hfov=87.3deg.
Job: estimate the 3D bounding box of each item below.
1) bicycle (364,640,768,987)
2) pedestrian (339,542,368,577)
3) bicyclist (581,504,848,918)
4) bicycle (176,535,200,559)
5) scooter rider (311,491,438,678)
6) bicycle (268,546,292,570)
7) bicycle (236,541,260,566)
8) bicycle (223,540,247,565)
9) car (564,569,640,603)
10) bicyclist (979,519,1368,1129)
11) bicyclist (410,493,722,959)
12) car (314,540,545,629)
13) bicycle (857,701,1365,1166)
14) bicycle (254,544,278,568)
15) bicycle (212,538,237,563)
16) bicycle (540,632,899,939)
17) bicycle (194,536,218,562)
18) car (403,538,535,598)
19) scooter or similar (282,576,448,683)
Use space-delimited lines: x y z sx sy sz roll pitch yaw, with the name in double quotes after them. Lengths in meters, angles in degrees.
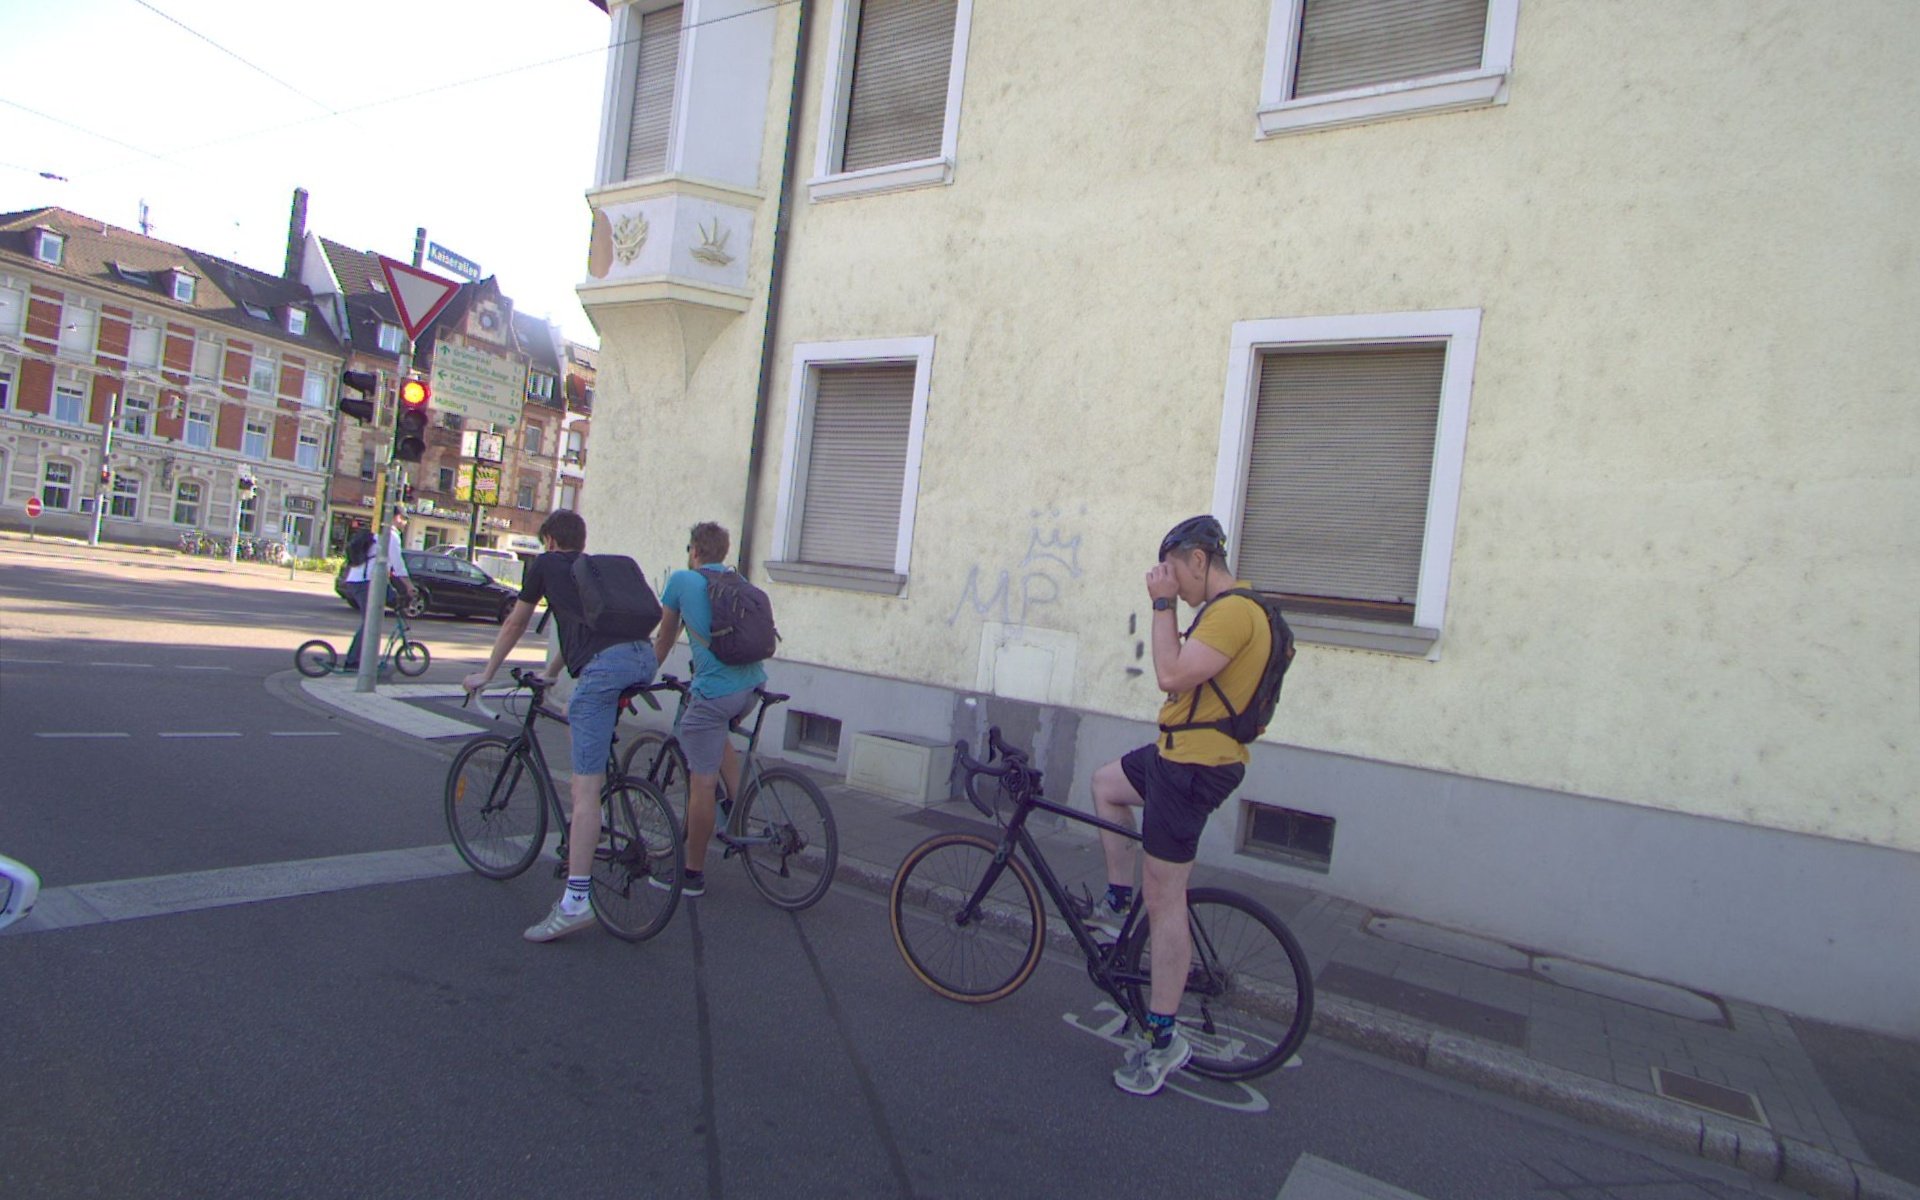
-1.796 0.836 4.461 1.858 1.071 0.571 7 0 32 "bicycle"
-33.007 -2.187 54.771 0.620 1.731 1.035 6 -1 40 "pedestrian"
-1.283 0.525 5.263 0.978 1.910 0.652 7 0 32 "bicyclist"
-35.060 -2.414 45.659 1.759 0.925 0.485 7 0 42 "bicycle"
-6.464 -0.157 11.111 0.784 1.936 0.795 7 2 31 "scooter rider"
-33.087 -2.058 48.972 1.759 1.033 0.485 7 0 42 "bicycle"
-33.670 -2.191 47.557 1.759 1.033 0.485 7 0 42 "bicycle"
-33.997 -2.250 47.165 1.759 1.033 0.485 7 0 42 "bicycle"
-23.167 -0.885 65.223 1.966 1.641 4.261 7 -1 29 "car"
0.775 0.697 3.649 1.019 1.839 0.652 7 0 32 "bicyclist"
-1.747 0.492 4.462 0.978 1.788 0.652 7 0 32 "bicyclist"
-11.448 -0.278 22.075 1.616 1.397 4.284 7 -1 25 "car"
0.516 1.091 3.765 1.670 1.180 0.571 7 0 32 "bicycle"
-33.306 -2.114 48.285 1.759 1.033 0.485 7 0 42 "bicycle"
-34.184 -2.292 46.741 1.759 1.033 0.485 7 0 42 "bicycle"
-1.307 0.878 5.273 1.858 1.180 0.571 7 0 32 "bicycle"
-34.635 -2.341 46.196 1.759 1.033 0.485 7 0 42 "bicycle"
-22.287 -1.417 45.886 1.967 2.037 4.988 7 -1 31 "car"
-6.528 0.328 11.097 0.556 1.057 1.431 7 2 31 "scooter or similar"
